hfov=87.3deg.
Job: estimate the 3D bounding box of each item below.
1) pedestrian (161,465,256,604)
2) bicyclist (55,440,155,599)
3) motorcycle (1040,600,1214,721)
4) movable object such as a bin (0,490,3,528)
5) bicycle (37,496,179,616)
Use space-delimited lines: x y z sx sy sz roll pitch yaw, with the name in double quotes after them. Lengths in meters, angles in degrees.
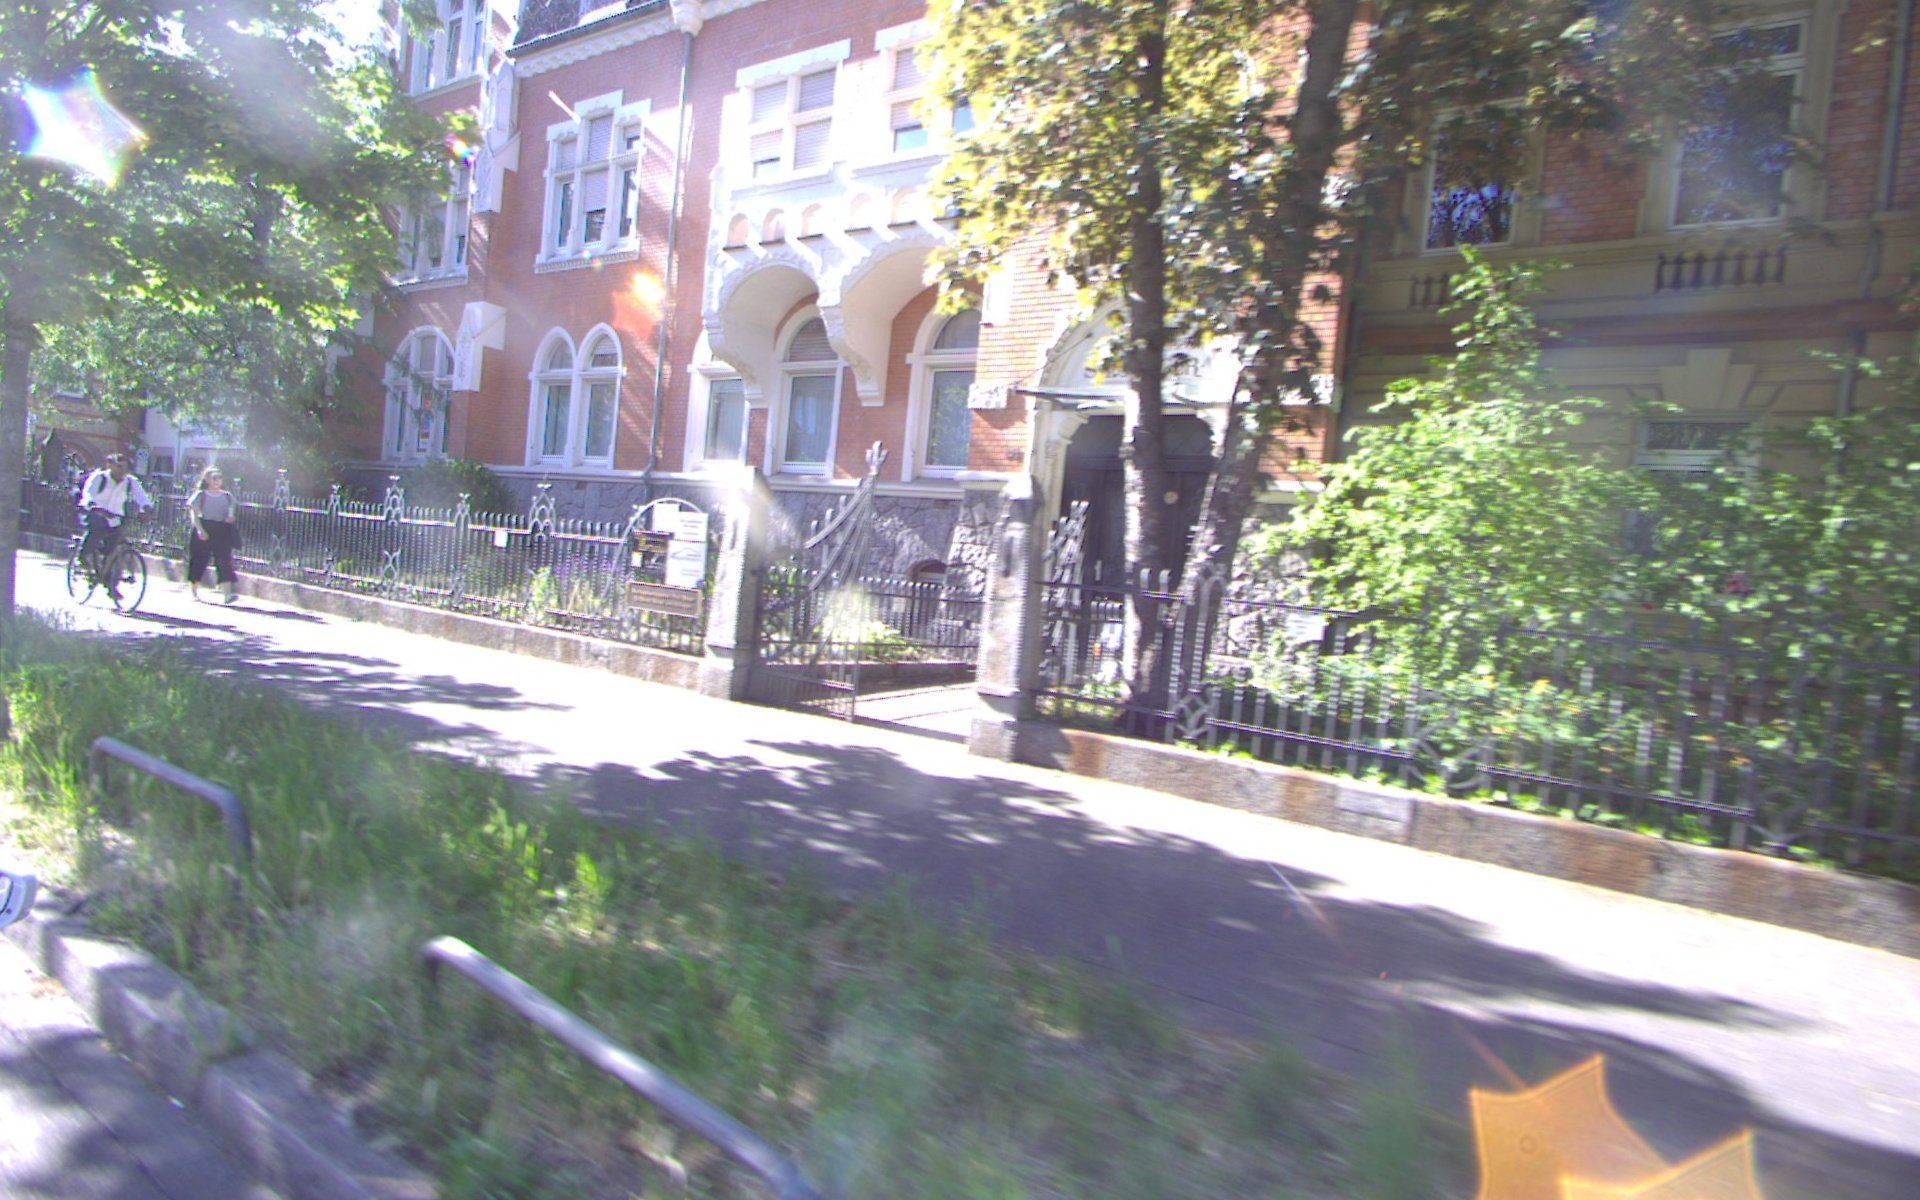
-9.456 -0.815 12.663 0.807 1.681 0.694 6 4 32 "pedestrian"
-9.716 -0.902 11.432 0.806 1.714 0.620 7 5 29 "bicyclist"
1.696 0.582 10.004 0.770 1.045 1.871 5 1 41 "motorcycle"
-25.207 -2.390 25.934 0.656 0.979 0.624 7 4 32 "movable object such as a bin"
-9.710 -0.518 11.439 1.886 1.193 0.615 6 4 29 "bicycle"
